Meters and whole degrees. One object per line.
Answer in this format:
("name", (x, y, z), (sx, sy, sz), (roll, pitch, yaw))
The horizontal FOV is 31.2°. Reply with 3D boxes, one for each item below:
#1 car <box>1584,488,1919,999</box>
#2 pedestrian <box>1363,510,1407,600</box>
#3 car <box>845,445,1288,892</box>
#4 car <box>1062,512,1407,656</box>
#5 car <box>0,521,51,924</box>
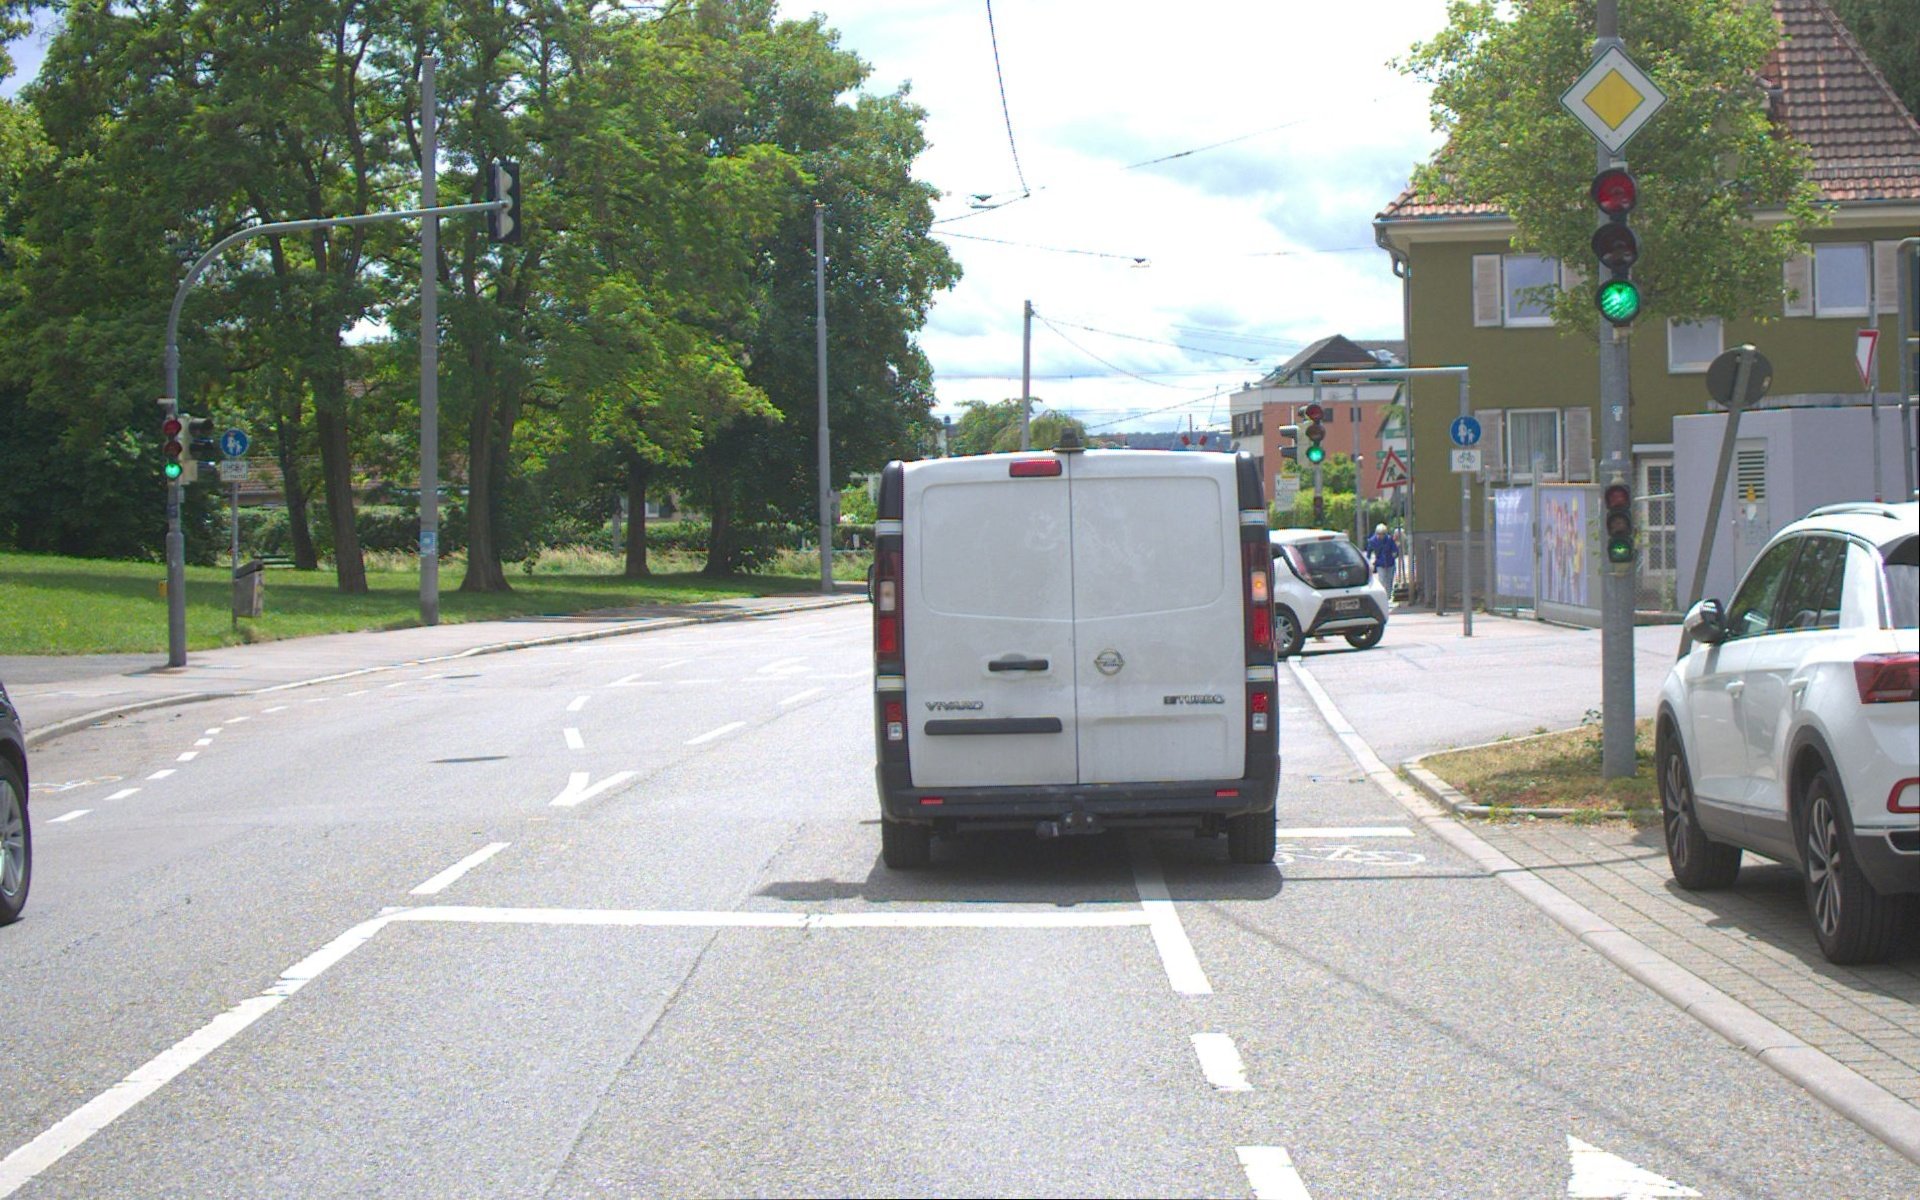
("car", (3.710, 0.375, 13.104), (1.737, 1.611, 4.387), (-4, 1, 0))
("pedestrian", (7.634, -0.808, 61.838), (0.678, 1.548, 0.835), (-3, -2, 6))
("car", (0.449, 0.261, 17.593), (1.938, 1.954, 4.833), (1, 1, -1))
("car", (3.275, -0.213, 41.562), (3.997, 1.601, 1.604), (2, 1, 43))
("car", (-4.774, 0.563, 12.408), (1.833, 1.611, 4.152), (-3, 1, -1))
